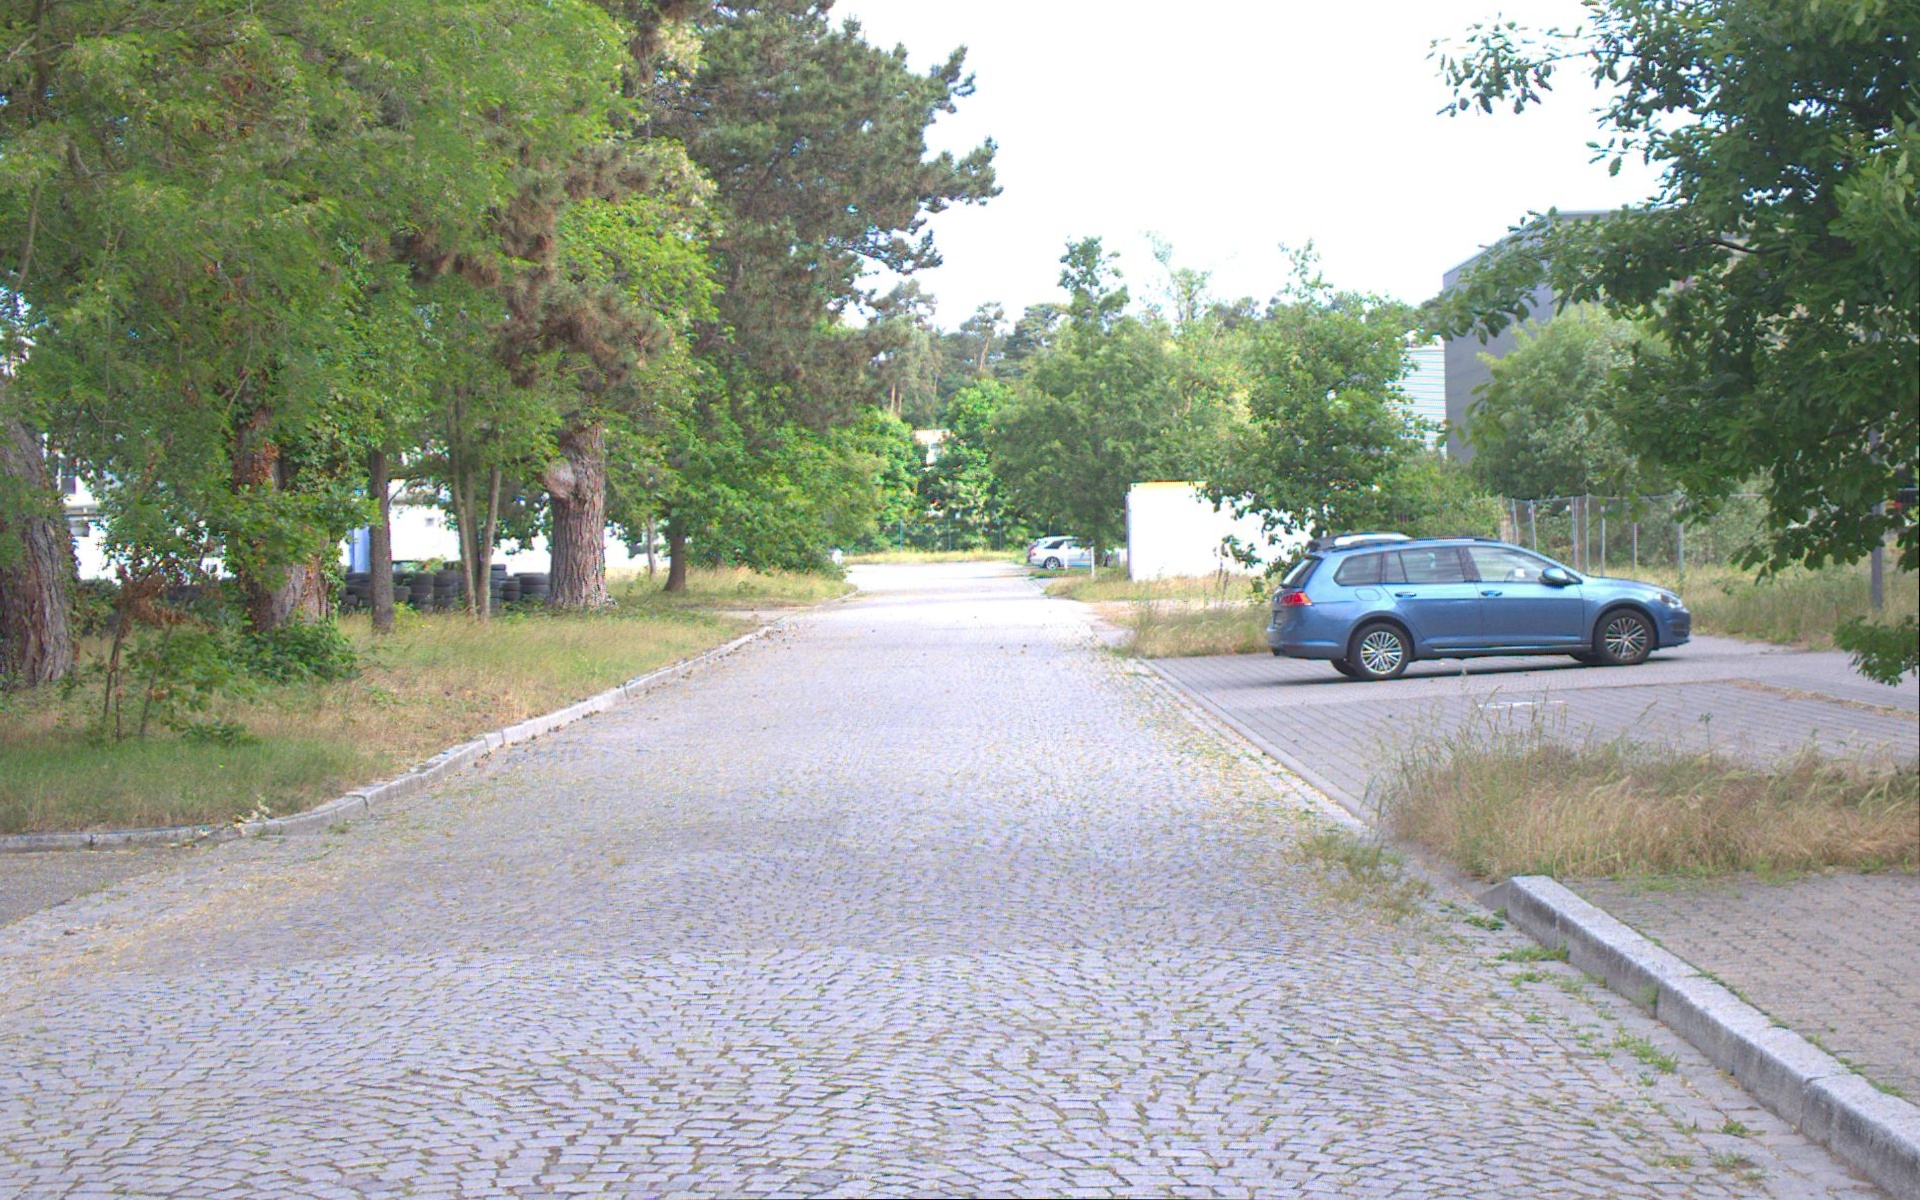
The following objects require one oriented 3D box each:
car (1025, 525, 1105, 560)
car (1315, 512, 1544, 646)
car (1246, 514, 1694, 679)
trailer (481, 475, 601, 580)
[{"bbox_3d":[4.701,-2.587,154.524,3.522,1.357,1.622,-3,1,1],"label":"car"},{"bbox_3d":[6.111,-0.287,44.954,2.710,1.551,1.653,-3,1,1],"label":"car"},{"bbox_3d":[5.494,-0.055,37.395,4.490,1.470,1.831,-4,1,-2],"label":"car"},{"bbox_3d":[-15.091,-2.618,124.596,2.625,3.585,10.177,-1,1,2],"label":"trailer"}]
